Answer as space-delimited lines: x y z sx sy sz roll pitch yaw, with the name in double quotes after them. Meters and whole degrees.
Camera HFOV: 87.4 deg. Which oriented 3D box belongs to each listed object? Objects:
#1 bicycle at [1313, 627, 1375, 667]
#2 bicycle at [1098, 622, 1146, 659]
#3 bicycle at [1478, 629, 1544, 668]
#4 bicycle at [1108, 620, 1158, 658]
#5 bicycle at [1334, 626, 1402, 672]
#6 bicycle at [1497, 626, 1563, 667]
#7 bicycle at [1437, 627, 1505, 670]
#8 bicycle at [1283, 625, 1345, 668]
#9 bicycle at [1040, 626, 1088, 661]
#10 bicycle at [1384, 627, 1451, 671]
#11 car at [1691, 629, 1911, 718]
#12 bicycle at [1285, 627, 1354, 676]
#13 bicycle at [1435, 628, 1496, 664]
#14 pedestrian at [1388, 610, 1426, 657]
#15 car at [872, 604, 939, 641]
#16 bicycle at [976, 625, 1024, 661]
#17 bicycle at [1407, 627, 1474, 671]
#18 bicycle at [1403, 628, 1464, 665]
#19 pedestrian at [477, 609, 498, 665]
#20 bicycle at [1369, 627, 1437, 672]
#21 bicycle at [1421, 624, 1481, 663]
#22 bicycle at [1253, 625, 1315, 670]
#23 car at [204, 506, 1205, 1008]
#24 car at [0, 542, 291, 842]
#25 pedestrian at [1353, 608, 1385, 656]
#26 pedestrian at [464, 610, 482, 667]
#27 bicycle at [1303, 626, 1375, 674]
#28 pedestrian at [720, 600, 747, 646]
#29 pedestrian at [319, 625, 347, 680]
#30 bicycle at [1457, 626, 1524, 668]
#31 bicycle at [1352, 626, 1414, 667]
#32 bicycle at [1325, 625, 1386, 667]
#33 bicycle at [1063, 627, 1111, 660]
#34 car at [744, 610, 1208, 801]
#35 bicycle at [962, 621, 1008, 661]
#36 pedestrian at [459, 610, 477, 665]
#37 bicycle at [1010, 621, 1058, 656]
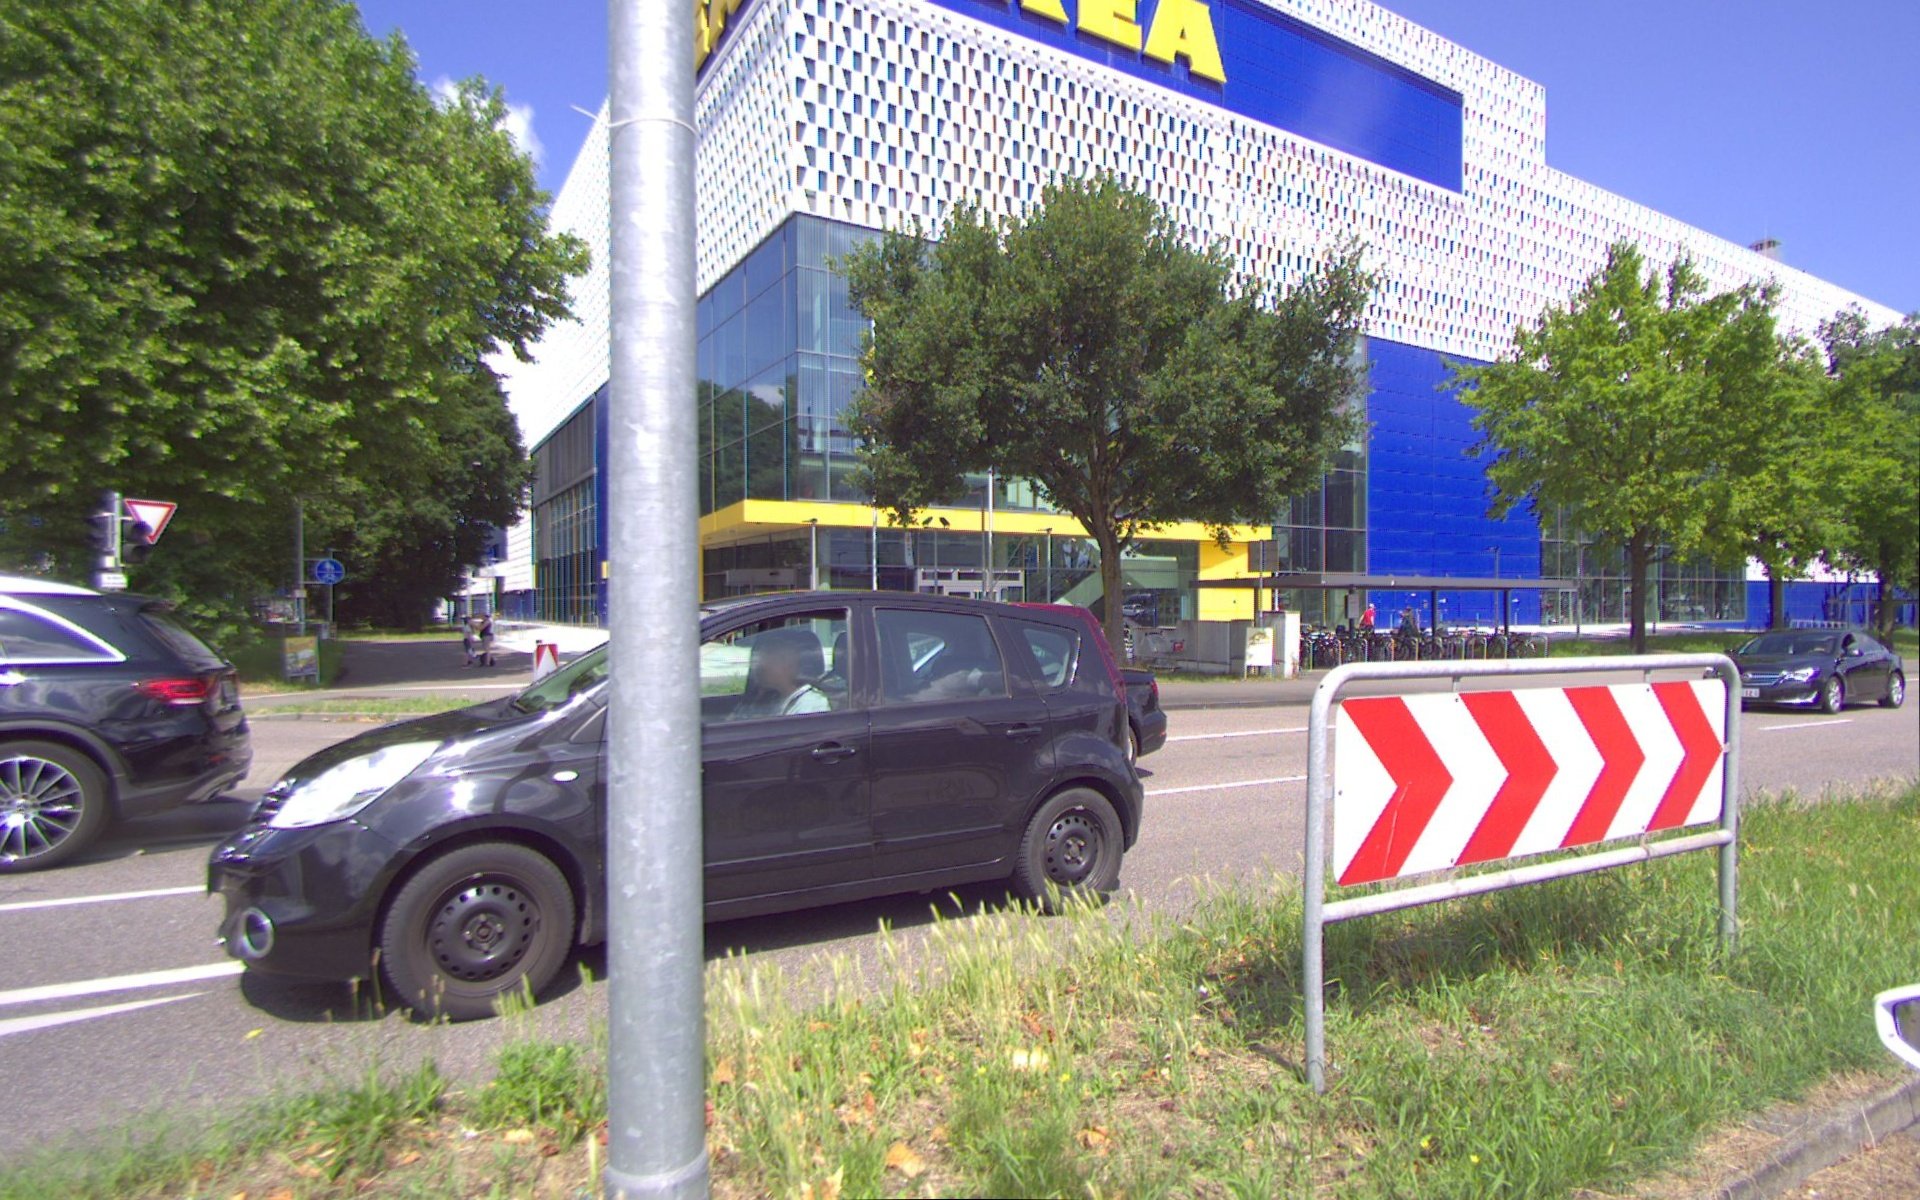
12.409 1.510 32.481 0.622 1.199 1.916 0 0 -29 "bicycle"
5.728 1.426 35.681 0.523 1.225 1.922 1 -1 -33 "bicycle"
18.523 1.605 33.826 0.622 1.199 1.916 0 0 -29 "bicycle"
6.171 1.386 35.960 0.591 1.260 1.933 1 -1 -33 "bicycle"
12.239 1.454 30.203 0.622 1.290 1.916 0 1 -29 "bicycle"
19.484 1.563 34.381 0.622 1.290 1.916 0 1 -29 "bicycle"
16.517 1.559 32.518 0.622 1.290 1.916 0 1 -29 "bicycle"
11.286 1.465 32.067 0.622 1.290 1.916 0 1 -29 "bicycle"
3.525 1.454 34.225 0.515 1.104 1.918 0 1 -33 "bicycle"
14.309 1.517 31.482 0.622 1.290 1.916 0 1 -29 "bicycle"
15.294 1.291 18.209 4.466 1.440 1.656 2 -3 -31 "car"
10.377 1.470 29.061 0.622 1.290 1.916 0 1 -29 "bicycle"
18.231 1.628 36.266 0.622 1.200 1.916 0 0 -29 "bicycle"
16.901 1.253 37.986 0.876 1.725 0.946 1 0 -29 "pedestrian"
-3.164 1.279 57.427 1.979 2.040 4.163 1 -2 -34 "car"
1.270 1.389 32.608 0.523 1.084 1.922 2 -1 -33 "bicycle"
15.254 1.545 31.961 0.622 1.290 1.916 0 1 -29 "bicycle"
16.477 1.602 35.002 0.622 1.195 1.916 0 0 -29 "bicycle"
-14.696 1.148 31.246 0.511 1.726 0.406 0 1 -36 "pedestrian"
13.515 1.492 30.710 0.622 1.290 1.916 0 1 -29 "bicycle"
17.431 1.524 35.702 0.622 1.290 1.916 0 1 -29 "bicycle"
10.129 1.469 31.459 0.622 1.290 1.916 0 1 -29 "bicycle"
-0.898 0.558 4.776 4.084 1.513 1.596 2 -3 -31 "car"
-6.381 0.501 5.850 3.954 1.636 1.762 3 -4 -30 "car"
16.089 1.269 39.503 0.876 1.847 0.750 1 0 -29 "pedestrian"
-15.061 1.189 31.036 0.446 1.726 0.400 0 1 -35 "pedestrian"
11.147 1.459 29.635 0.622 1.290 2.079 0 1 -29 "bicycle"
-8.736 0.887 38.736 0.703 1.729 0.890 2 0 -35 "pedestrian"
-15.548 1.302 24.916 0.532 1.341 0.488 2 0 -29 "pedestrian"
17.544 1.546 33.244 0.622 1.290 1.916 0 1 -29 "bicycle"
14.188 1.534 33.728 0.622 1.290 1.916 0 1 -29 "bicycle"
13.056 1.487 33.228 0.622 1.290 1.916 0 1 -29 "bicycle"
4.389 1.497 34.840 0.523 1.084 1.922 2 -1 -33 "bicycle"
0.238 0.862 9.062 4.047 1.410 1.405 2 -3 -30 "car"
0.791 1.298 32.171 0.463 1.188 1.944 0 1 -33 "bicycle"
-15.499 1.171 31.666 0.406 1.726 0.522 0 1 -38 "pedestrian"
2.469 1.280 33.592 0.523 1.084 1.922 2 -1 -33 "bicycle"
